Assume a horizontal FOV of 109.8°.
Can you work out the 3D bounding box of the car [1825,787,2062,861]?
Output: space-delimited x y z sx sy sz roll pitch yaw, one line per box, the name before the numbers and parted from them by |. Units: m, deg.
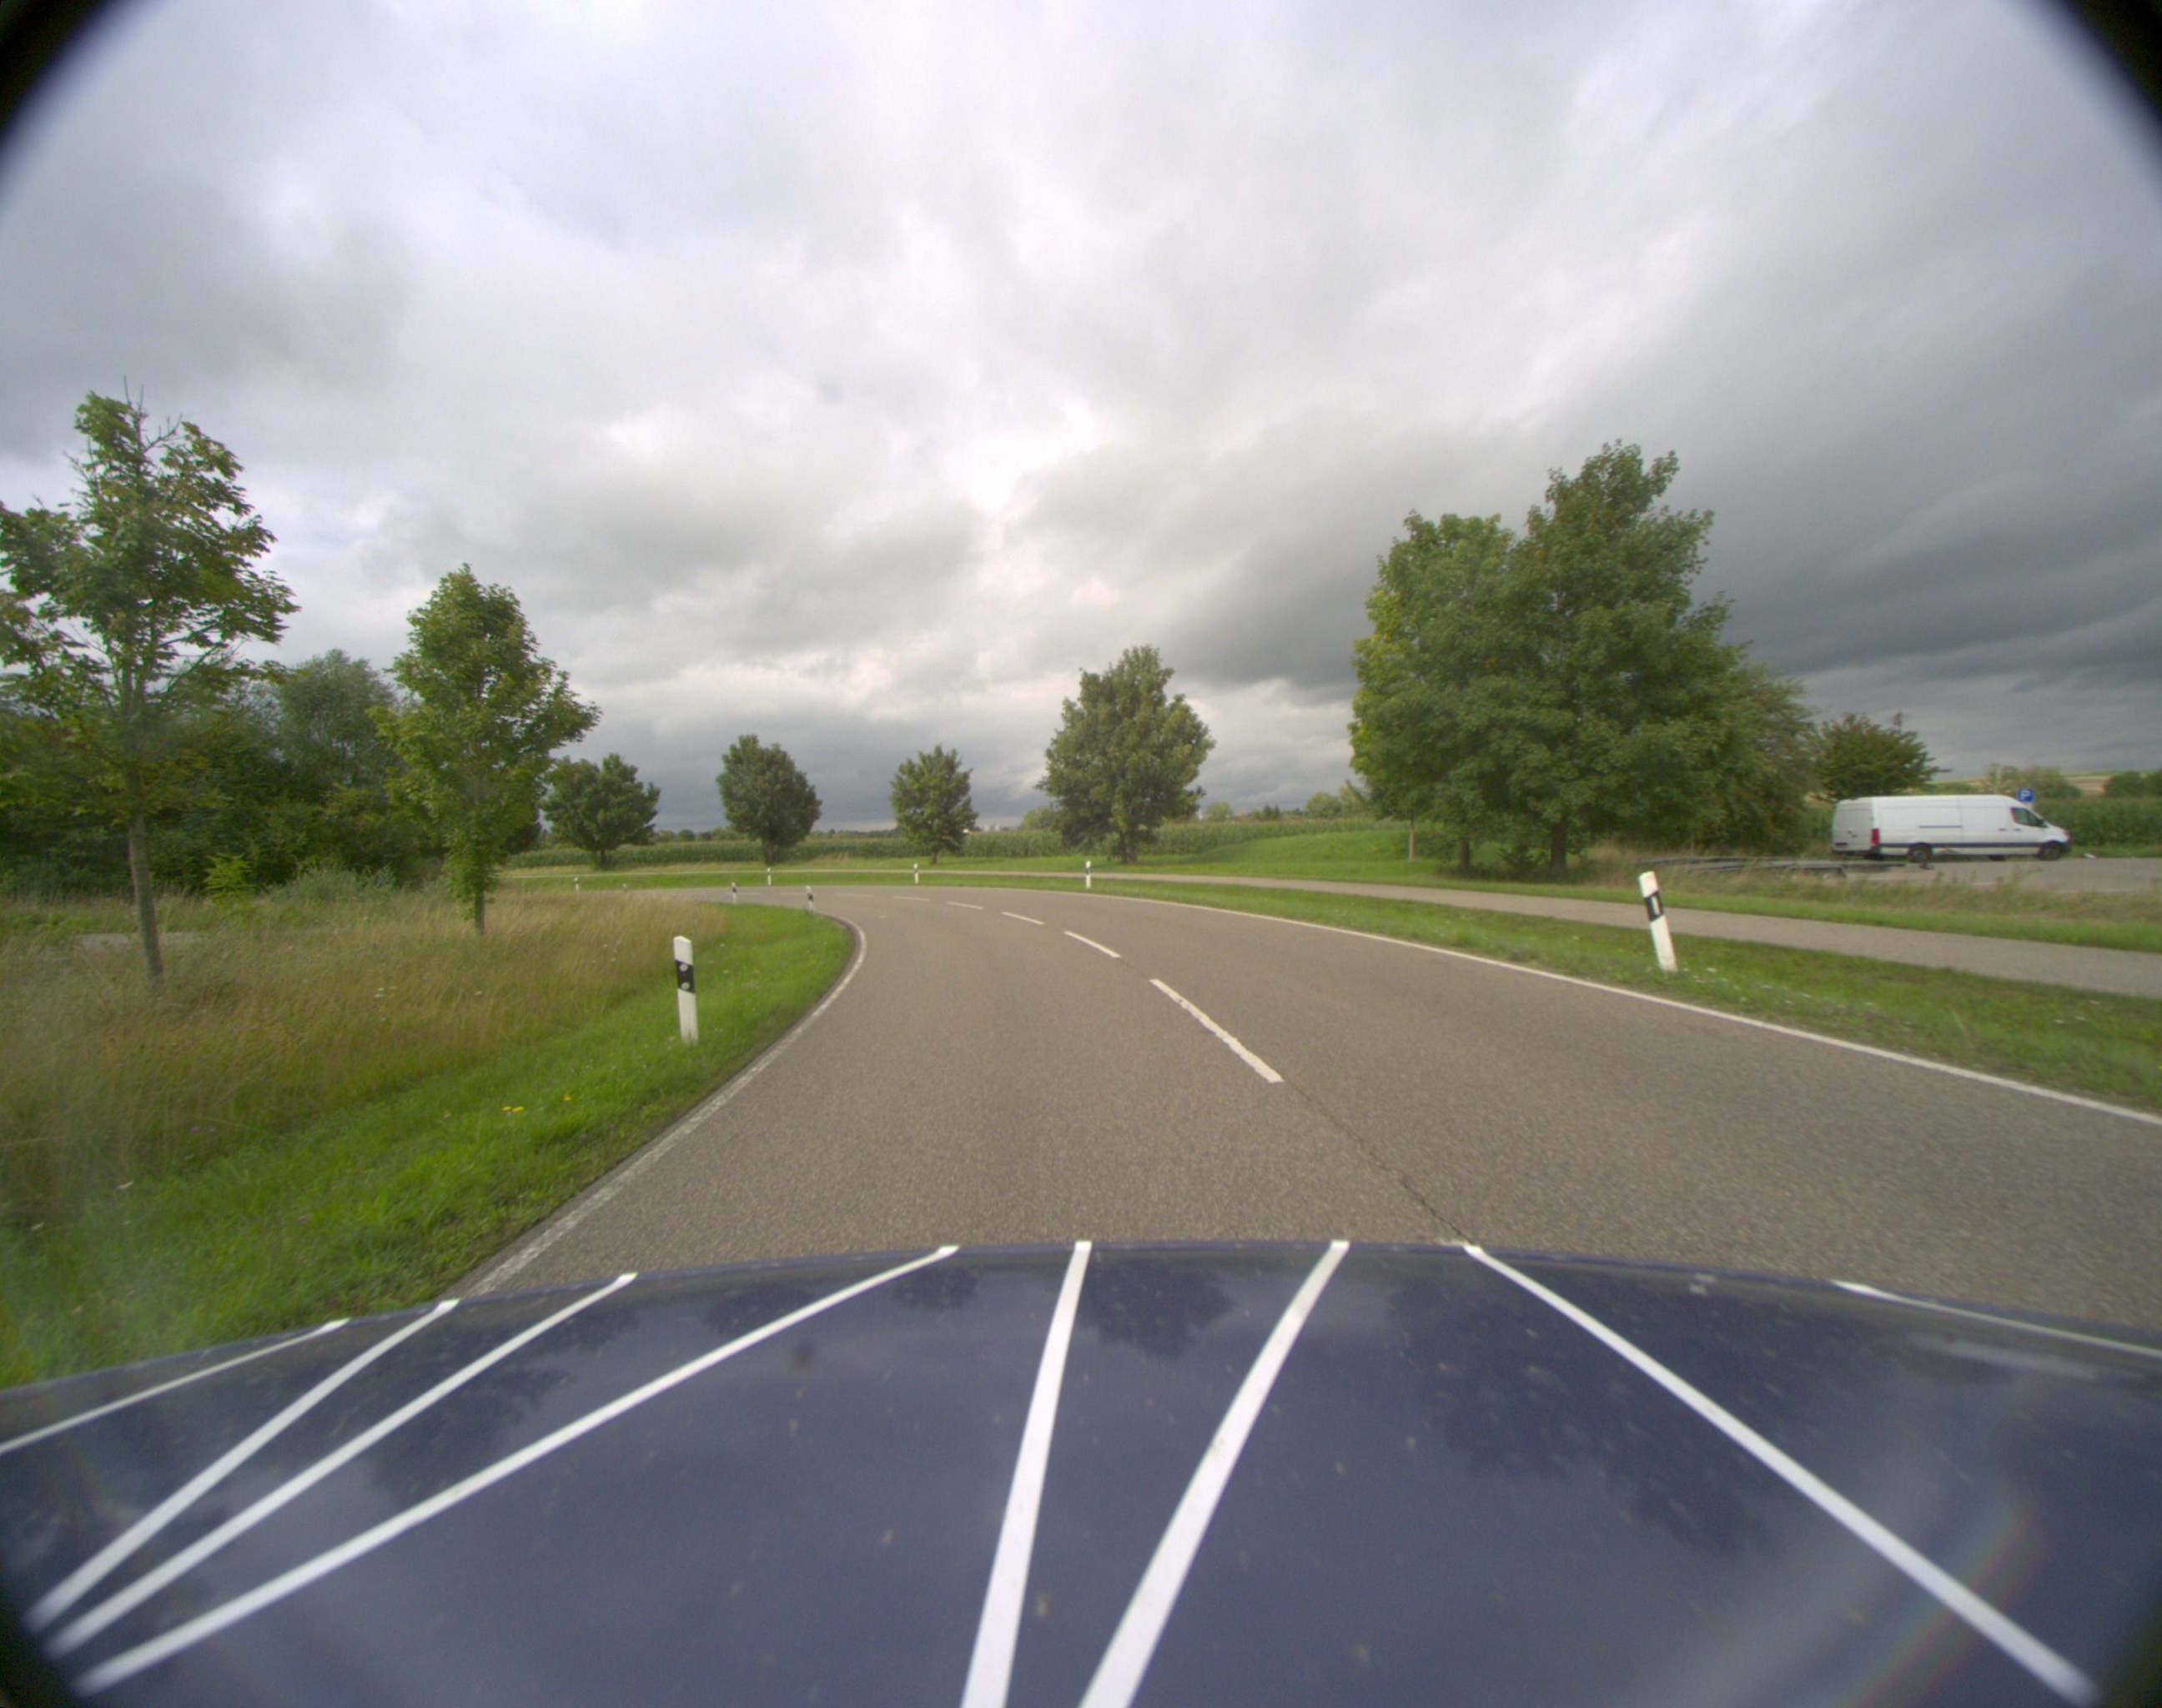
car | 33.629 -1.149 29.821 6.328 2.604 2.201 -2 1 6
